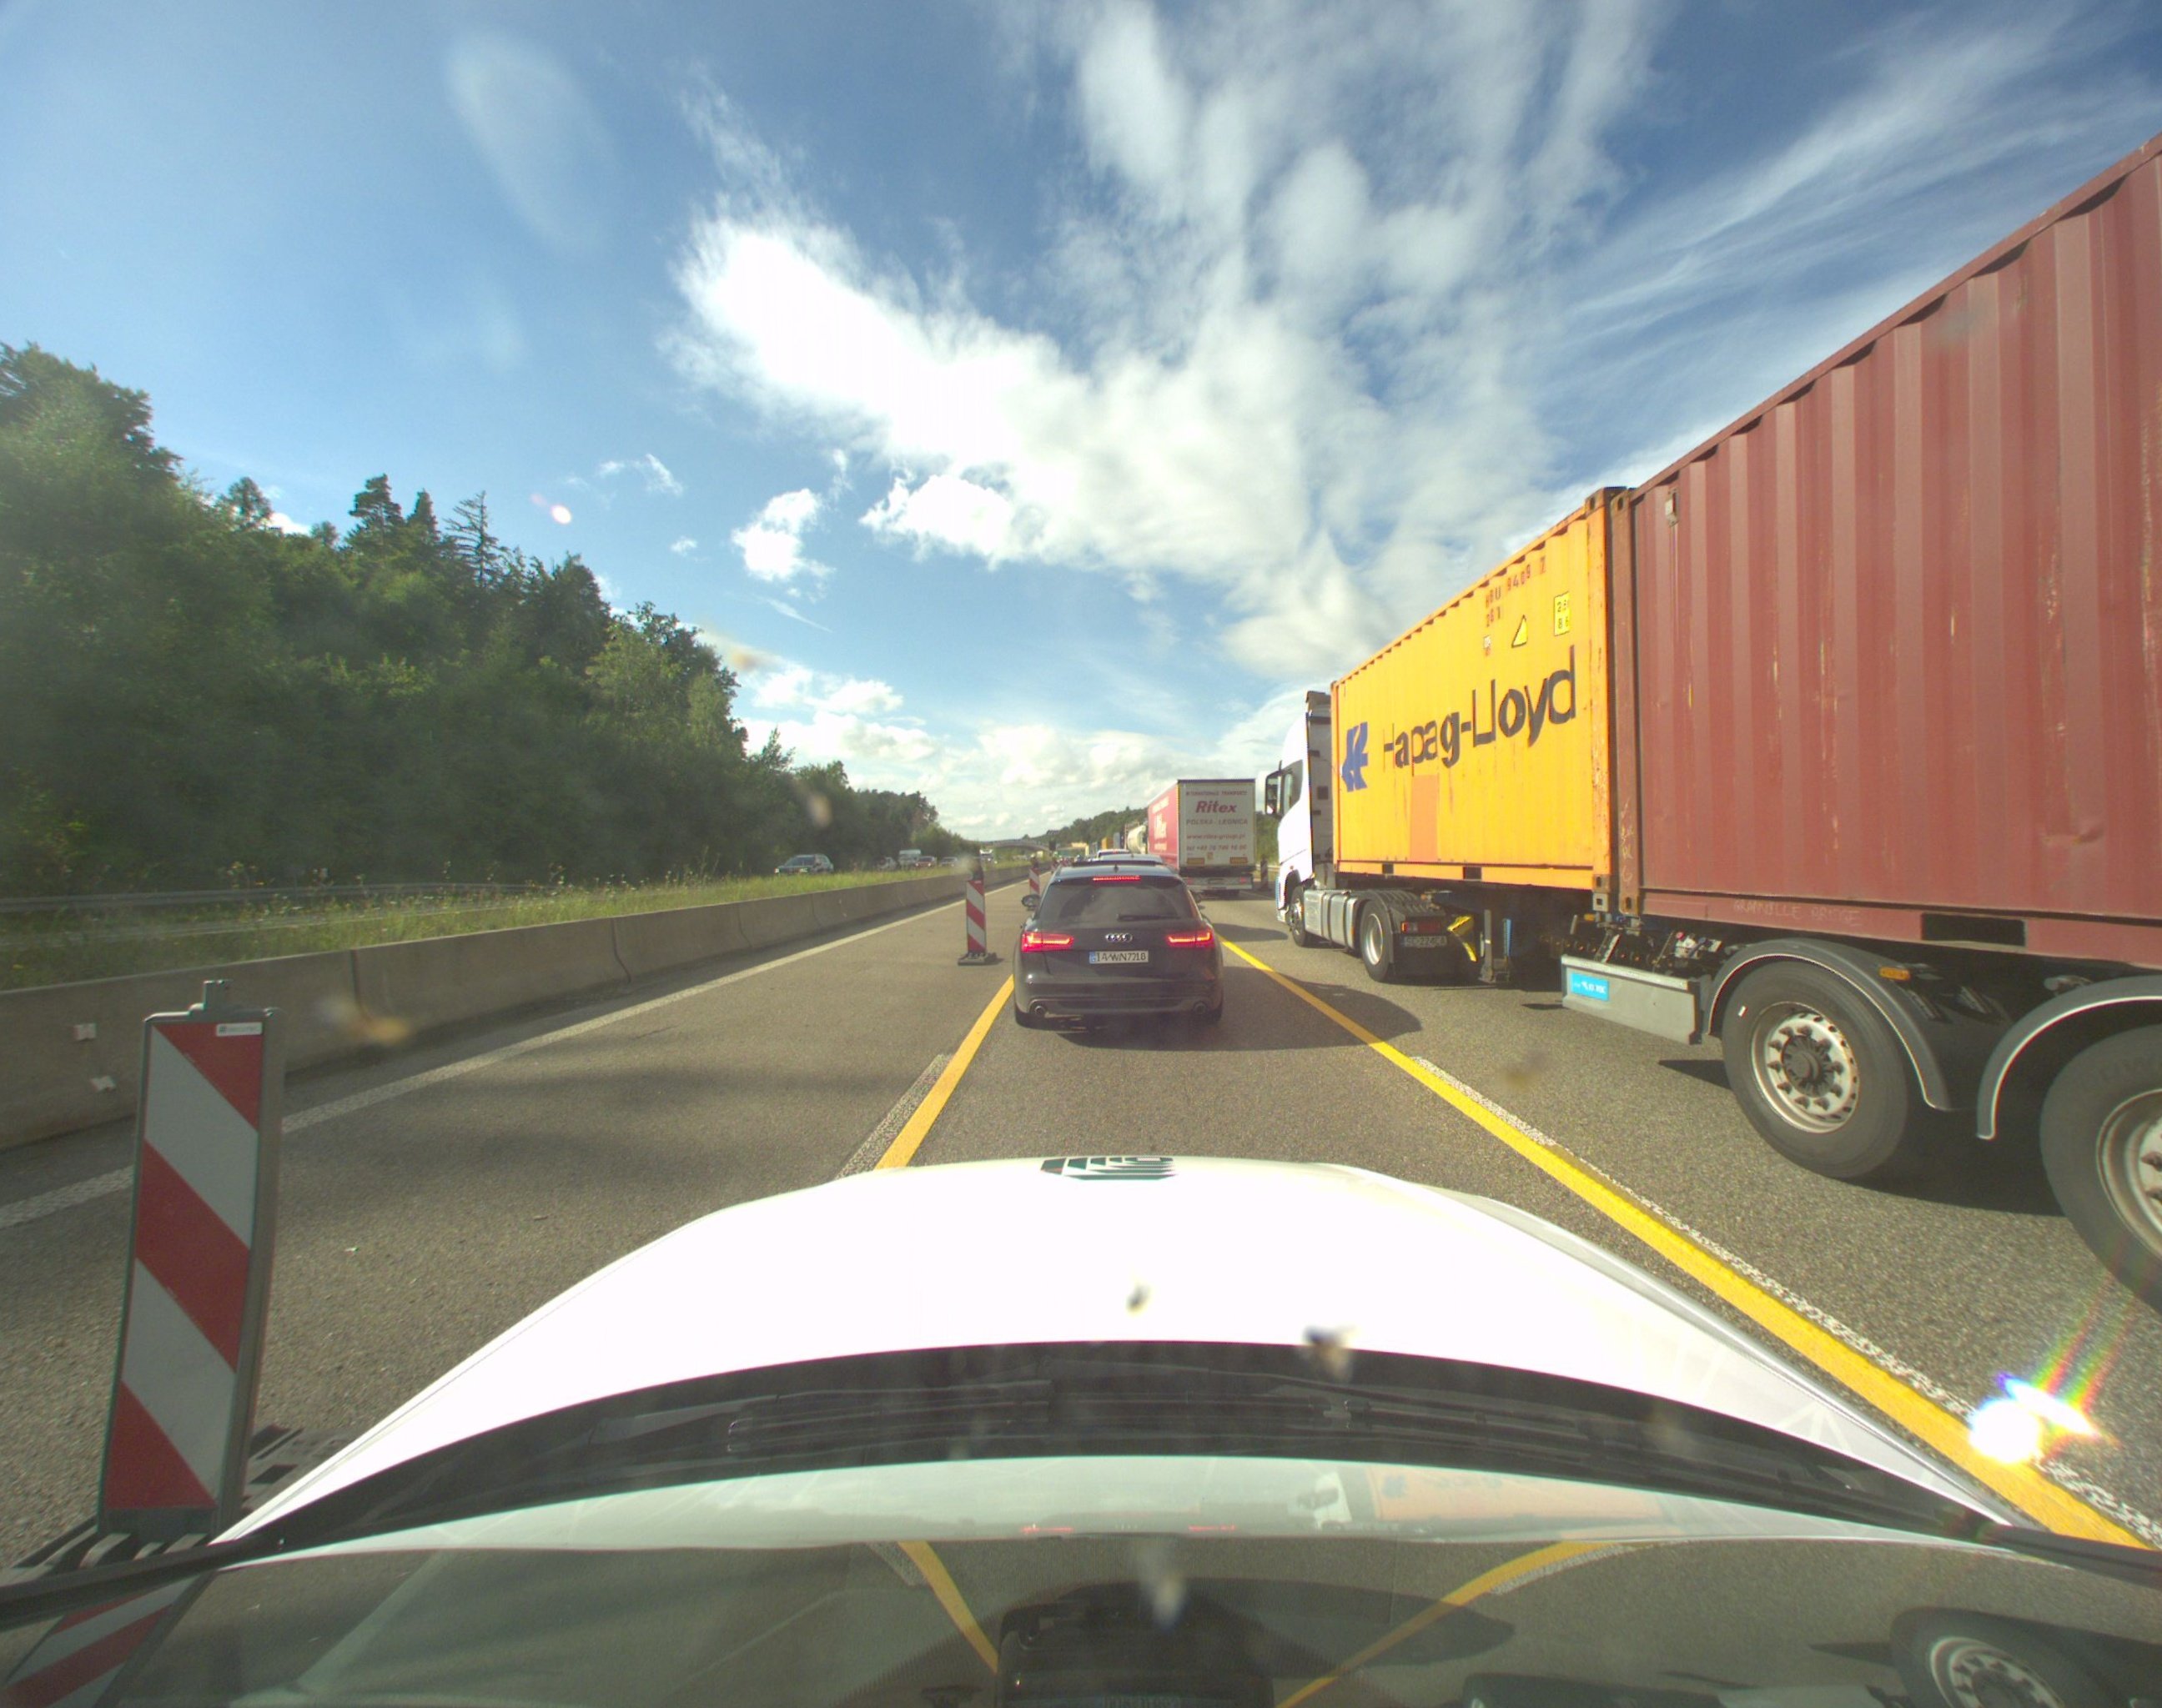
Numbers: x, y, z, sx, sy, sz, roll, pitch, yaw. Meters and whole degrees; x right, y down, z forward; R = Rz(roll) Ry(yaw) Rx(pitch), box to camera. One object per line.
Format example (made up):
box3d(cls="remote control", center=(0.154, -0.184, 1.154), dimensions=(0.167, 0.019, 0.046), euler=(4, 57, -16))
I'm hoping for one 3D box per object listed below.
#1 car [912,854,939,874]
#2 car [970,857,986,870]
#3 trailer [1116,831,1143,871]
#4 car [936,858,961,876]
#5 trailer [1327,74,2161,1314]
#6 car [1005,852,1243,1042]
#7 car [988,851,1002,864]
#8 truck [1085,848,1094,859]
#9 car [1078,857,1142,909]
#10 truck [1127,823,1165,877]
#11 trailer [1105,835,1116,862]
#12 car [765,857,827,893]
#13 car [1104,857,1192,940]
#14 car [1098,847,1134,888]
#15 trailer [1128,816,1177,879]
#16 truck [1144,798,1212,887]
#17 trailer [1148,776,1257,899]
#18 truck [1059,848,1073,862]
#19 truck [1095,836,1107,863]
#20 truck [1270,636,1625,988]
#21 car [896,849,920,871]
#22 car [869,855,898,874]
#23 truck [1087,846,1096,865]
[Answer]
box3d(cls="car", center=(-16.578, 1.048, 87.108), dimensions=(1.986, 2.013, 4.002), euler=(-1, 0, 2))
box3d(cls="car", center=(-12.985, 1.192, 102.810), dimensions=(1.477, 1.653, 3.235), euler=(0, -1, 2))
box3d(cls="trailer", center=(5.534, -0.286, 93.673), dimensions=(2.795, 4.413, 10.436), euler=(0, -1, 2))
box3d(cls="car", center=(-13.575, 1.322, 83.372), dimensions=(1.792, 1.849, 3.812), euler=(0, -1, 2))
box3d(cls="trailer", center=(4.556, -0.485, 5.103), dimensions=(2.463, 3.775, 12.136), euler=(-1, 0, 1))
box3d(cls="car", center=(0.400, 0.749, 8.401), dimensions=(1.842, 1.463, 4.001), euler=(-1, -1, 2))
box3d(cls="car", center=(-15.787, 0.605, 149.476), dimensions=(1.986, 2.277, 5.132), euler=(0, -1, 2))
box3d(cls="truck", center=(2.624, -0.047, 256.026), dimensions=(2.558, 3.466, 7.398), euler=(0, -1, 0))
box3d(cls="car", center=(0.855, 0.812, 24.080), dimensions=(1.745, 1.397, 3.609), euler=(0, -1, 2))
box3d(cls="truck", center=(4.986, -0.281, 63.176), dimensions=(2.649, 3.972, 5.780), euler=(0, -1, 2))
box3d(cls="trailer", center=(4.338, -0.760, 120.710), dimensions=(1.611, 3.918, 6.490), euler=(0, -1, 1))
box3d(cls="car", center=(-14.016, 0.998, 40.200), dimensions=(1.709, 1.706, 3.524), euler=(0, -1, 2))
box3d(cls="car", center=(1.227, 0.796, 15.902), dimensions=(1.518, 1.439, 3.286), euler=(0, -1, 2))
box3d(cls="car", center=(1.608, 0.611, 37.517), dimensions=(1.575, 1.837, 3.113), euler=(0, -1, 2))
box3d(cls="trailer", center=(4.793, -0.383, 56.712), dimensions=(2.634, 3.943, 12.602), euler=(0, 0, 2))
box3d(cls="truck", center=(4.593, -0.518, 39.474), dimensions=(2.658, 3.959, 5.711), euler=(-1, 0, 1))
box3d(cls="trailer", center=(4.479, -0.531, 33.037), dimensions=(2.690, 3.969, 13.420), euler=(-1, 0, 1))
box3d(cls="truck", center=(-4.779, 0.418, 255.859), dimensions=(3.300, 4.175, 9.682), euler=(-2, -1, -6))
box3d(cls="truck", center=(3.729, -0.799, 154.221), dimensions=(1.987, 4.914, 9.562), euler=(-1, 0, 0))
box3d(cls="truck", center=(4.632, -0.447, 11.699), dimensions=(2.486, 3.780, 5.789), euler=(-1, 0, 0))
box3d(cls="car", center=(-20.846, 0.723, 98.138), dimensions=(2.247, 2.643, 5.009), euler=(0, -1, -6))
box3d(cls="car", center=(-21.353, 1.153, 88.278), dimensions=(1.986, 2.014, 4.001), euler=(0, -1, 2))
box3d(cls="truck", center=(2.434, 0.410, 189.082), dimensions=(2.130, 4.257, 7.073), euler=(0, -1, 1))
